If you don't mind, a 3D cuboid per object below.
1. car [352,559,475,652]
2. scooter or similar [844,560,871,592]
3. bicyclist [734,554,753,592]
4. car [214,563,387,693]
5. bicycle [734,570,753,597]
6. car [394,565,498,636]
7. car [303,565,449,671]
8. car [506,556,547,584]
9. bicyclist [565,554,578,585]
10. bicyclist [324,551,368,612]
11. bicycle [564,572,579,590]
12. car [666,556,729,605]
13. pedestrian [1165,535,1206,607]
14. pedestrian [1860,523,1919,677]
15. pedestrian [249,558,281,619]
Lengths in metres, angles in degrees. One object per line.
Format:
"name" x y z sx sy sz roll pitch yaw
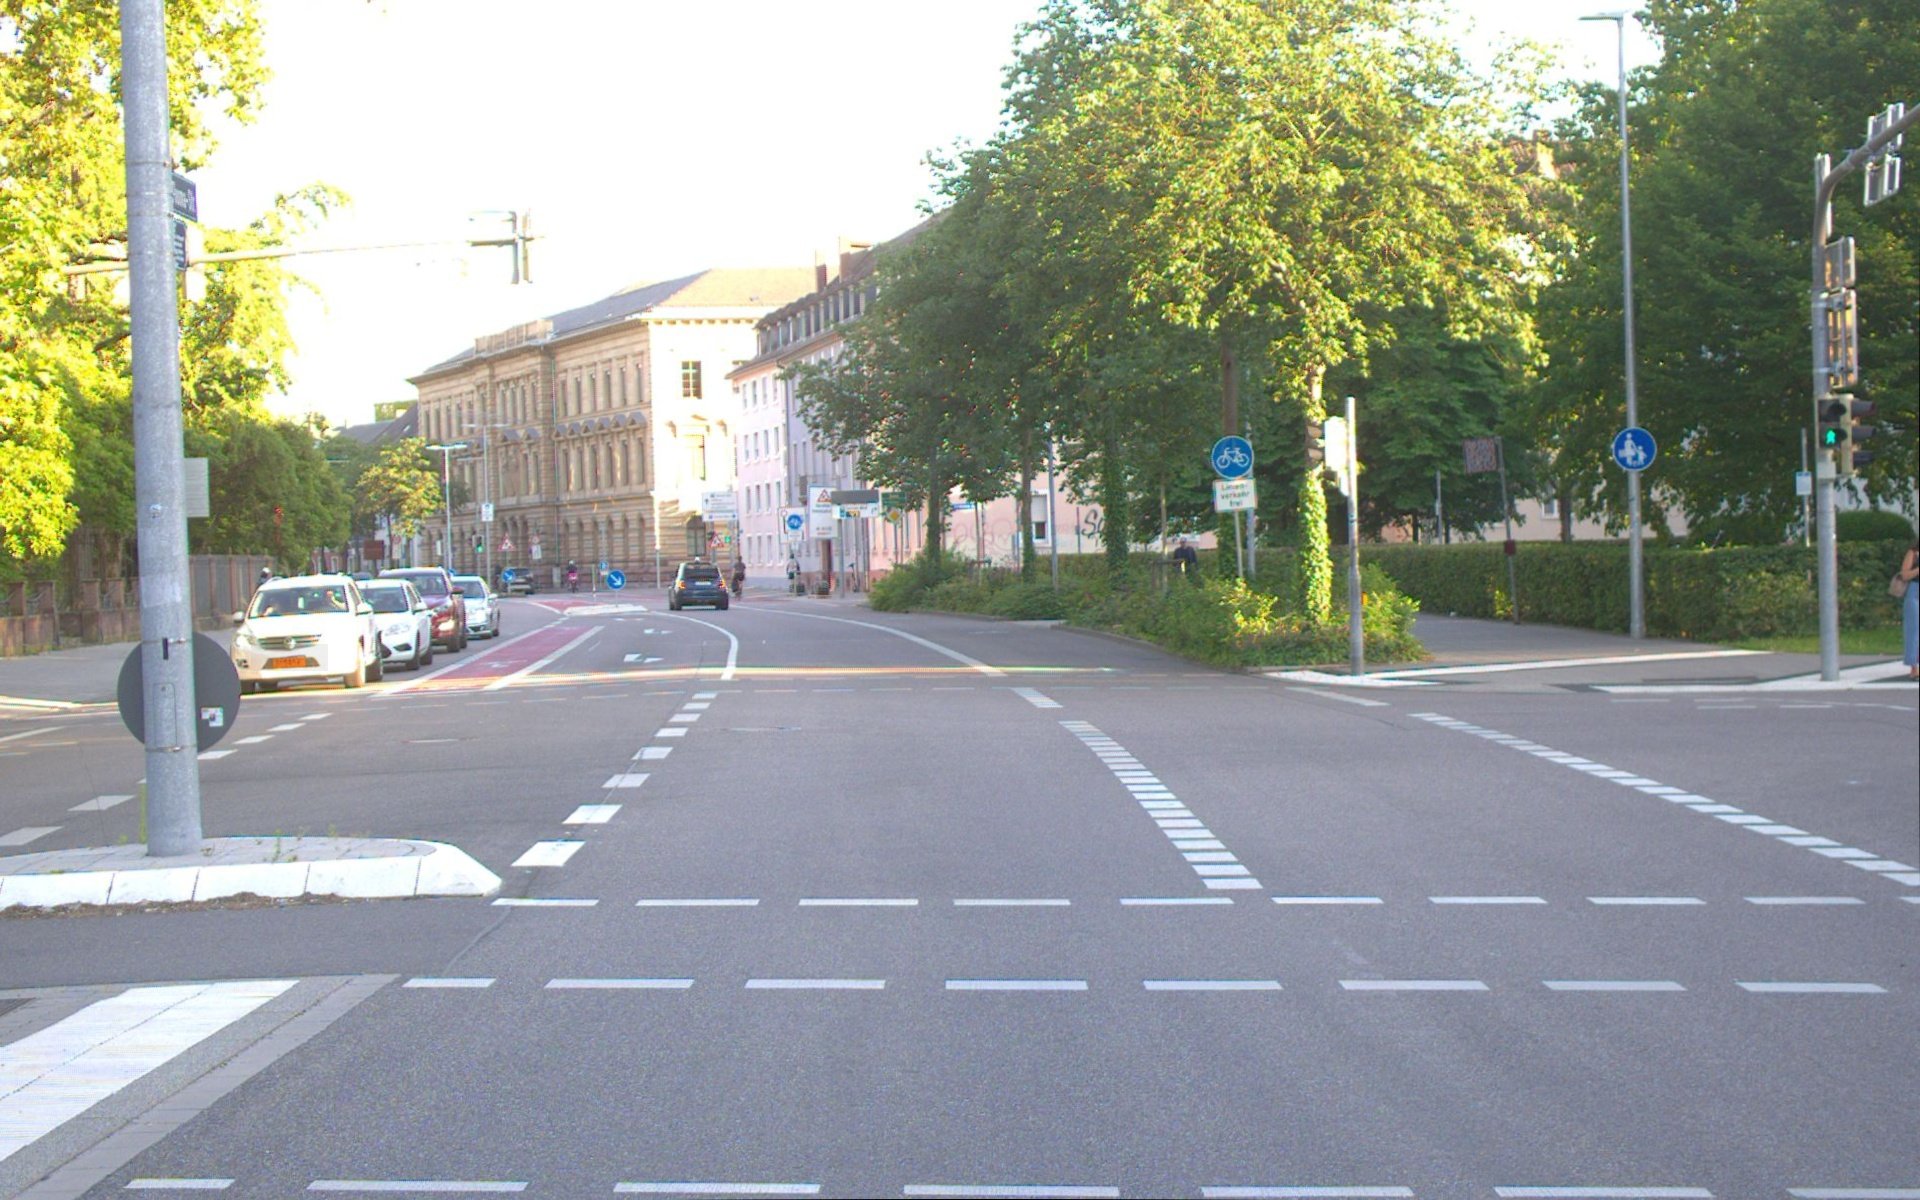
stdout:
"car" -10.591 0.072 66.861 1.916 1.619 4.640 -3 1 -5
"scooter or similar" -4.325 -0.996 145.349 0.629 1.332 2.401 -1 1 -14
"bicyclist" -8.370 -1.048 132.924 0.652 1.470 0.941 1 0 -2
"car" -9.595 0.362 50.293 1.916 1.690 4.427 -3 1 -5
"bicycle" -8.371 -0.639 132.925 0.652 1.012 2.198 1 1 -2
"car" -11.504 -0.019 77.258 1.916 1.413 4.771 -3 1 -5
"car" -9.745 0.268 57.660 1.916 1.578 4.675 -3 1 -5
"car" -24.180 -1.688 191.641 1.916 1.413 4.771 -4 1 -10
"bicyclist" -21.836 -1.710 193.254 0.652 1.692 0.957 1 0 -11
"bicyclist" -14.598 -0.437 81.782 0.855 1.426 0.943 -1 1 0
"bicycle" -21.860 -1.083 193.344 0.652 1.012 2.198 1 1 -11
"car" -8.293 -0.611 108.881 1.867 1.505 4.000 -1 0 -3
"pedestrian" 5.508 -0.706 83.972 0.769 1.733 0.807 -2 1 -10
"pedestrian" 10.132 -0.008 36.896 0.681 1.616 0.845 -2 1 -1
"pedestrian" -18.856 -0.312 93.292 0.681 1.617 0.688 -2 1 -1
